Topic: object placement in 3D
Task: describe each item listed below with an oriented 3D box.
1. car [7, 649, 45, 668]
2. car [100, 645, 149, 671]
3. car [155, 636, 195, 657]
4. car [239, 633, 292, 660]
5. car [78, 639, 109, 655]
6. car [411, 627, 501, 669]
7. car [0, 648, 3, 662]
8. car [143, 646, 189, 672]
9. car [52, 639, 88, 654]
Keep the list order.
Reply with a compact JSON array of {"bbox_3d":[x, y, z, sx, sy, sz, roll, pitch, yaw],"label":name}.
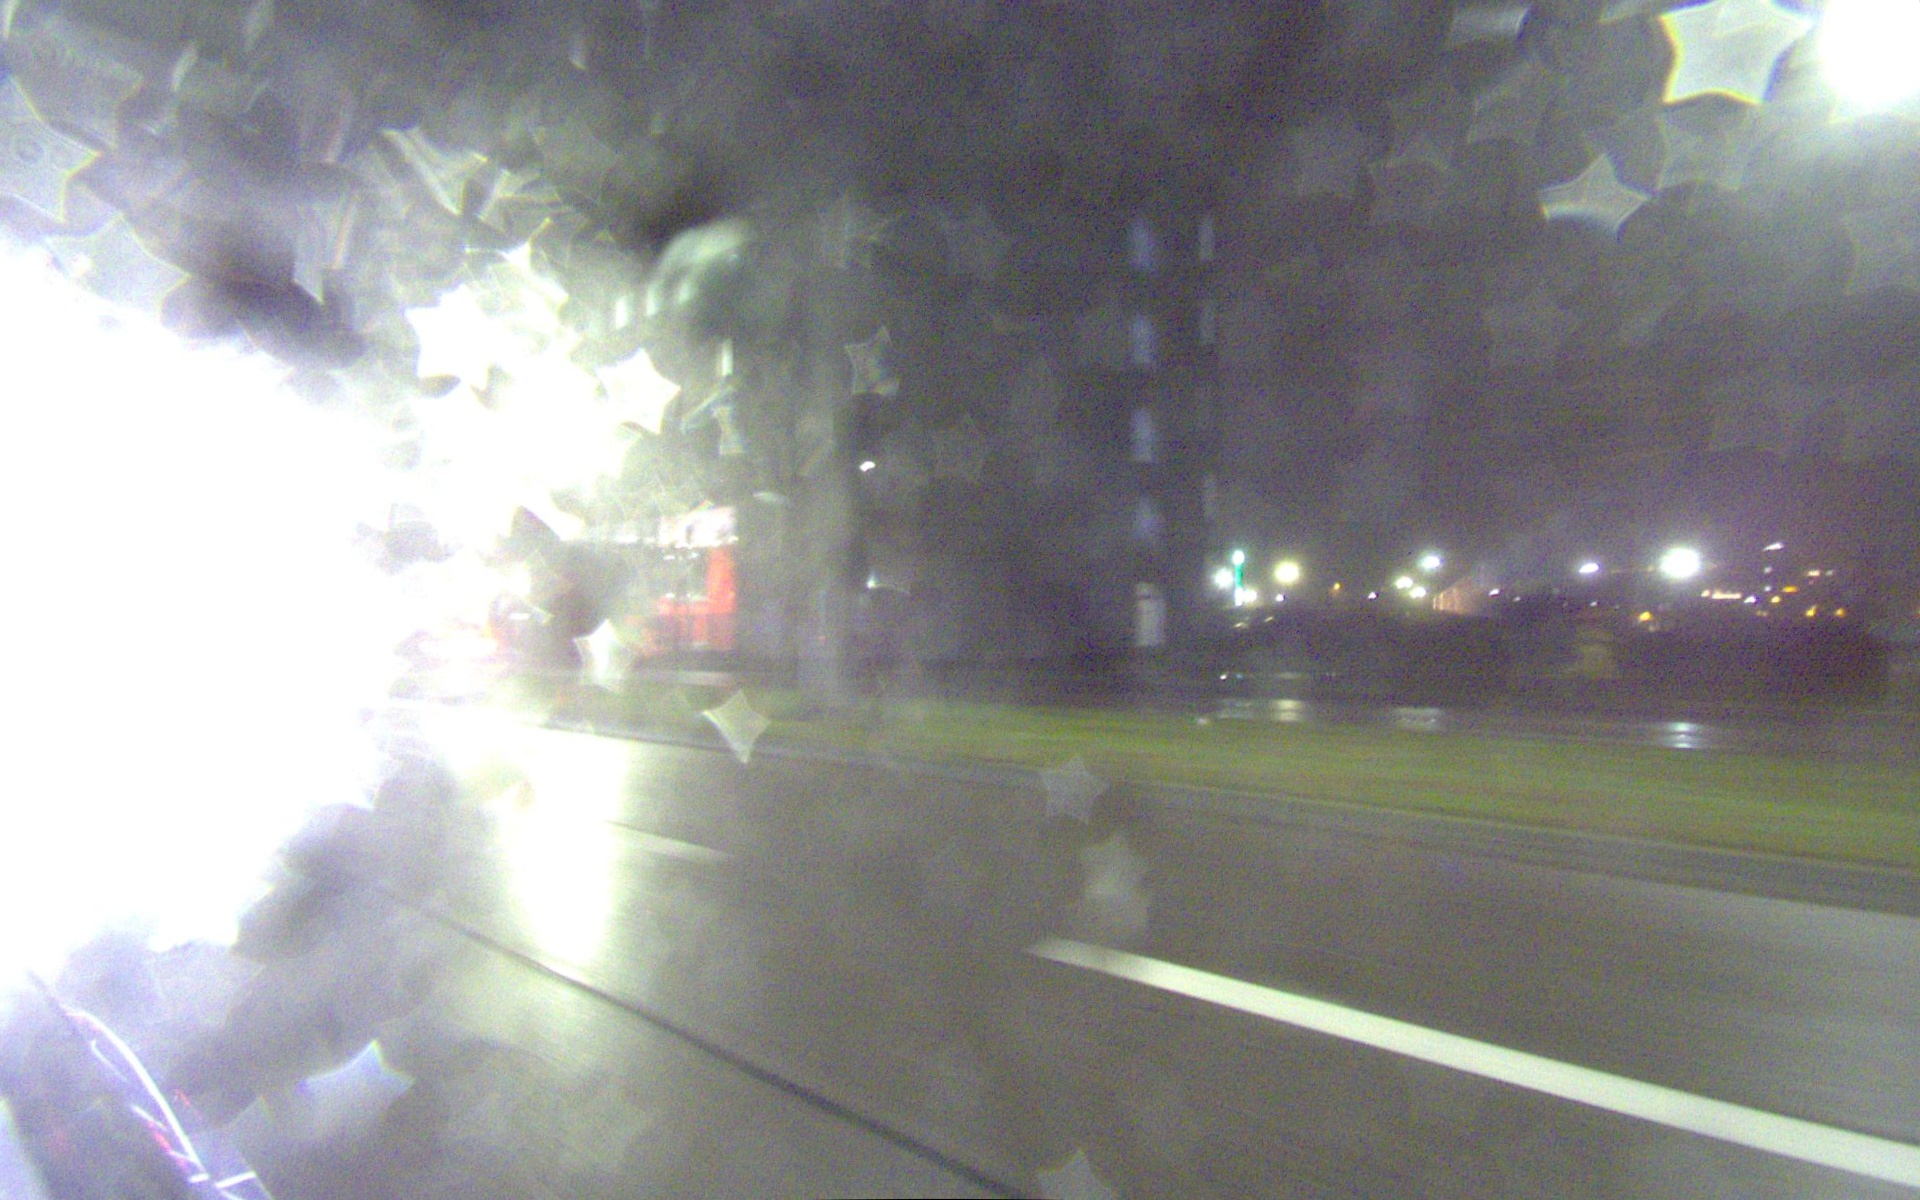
[{"bbox_3d":[-88.041,5.469,95.380,5.319,1.604,1.826,-2,-1,38],"label":"car"},{"bbox_3d":[-52.661,3.628,63.790,4.365,1.497,1.823,-2,-1,43],"label":"car"},{"bbox_3d":[-62.525,3.675,80.577,4.365,1.604,1.823,-2,-1,43],"label":"car"},{"bbox_3d":[-43.927,2.922,63.975,4.365,1.604,1.823,-2,-1,43],"label":"car"},{"bbox_3d":[-89.945,4.848,105.017,4.748,1.604,1.824,-2,-1,41],"label":"car"},{"bbox_3d":[-22.502,2.115,45.116,4.545,1.696,2.003,-2,-1,41],"label":"car"},{"bbox_3d":[-111.032,6.280,115.943,3.817,1.589,1.689,-2,-1,40],"label":"car"},{"bbox_3d":[-54.881,4.056,69.960,4.365,1.604,1.823,-2,-1,43],"label":"car"},{"bbox_3d":[-86.703,4.516,98.581,5.554,1.369,1.824,-2,-1,40],"label":"car"}]
